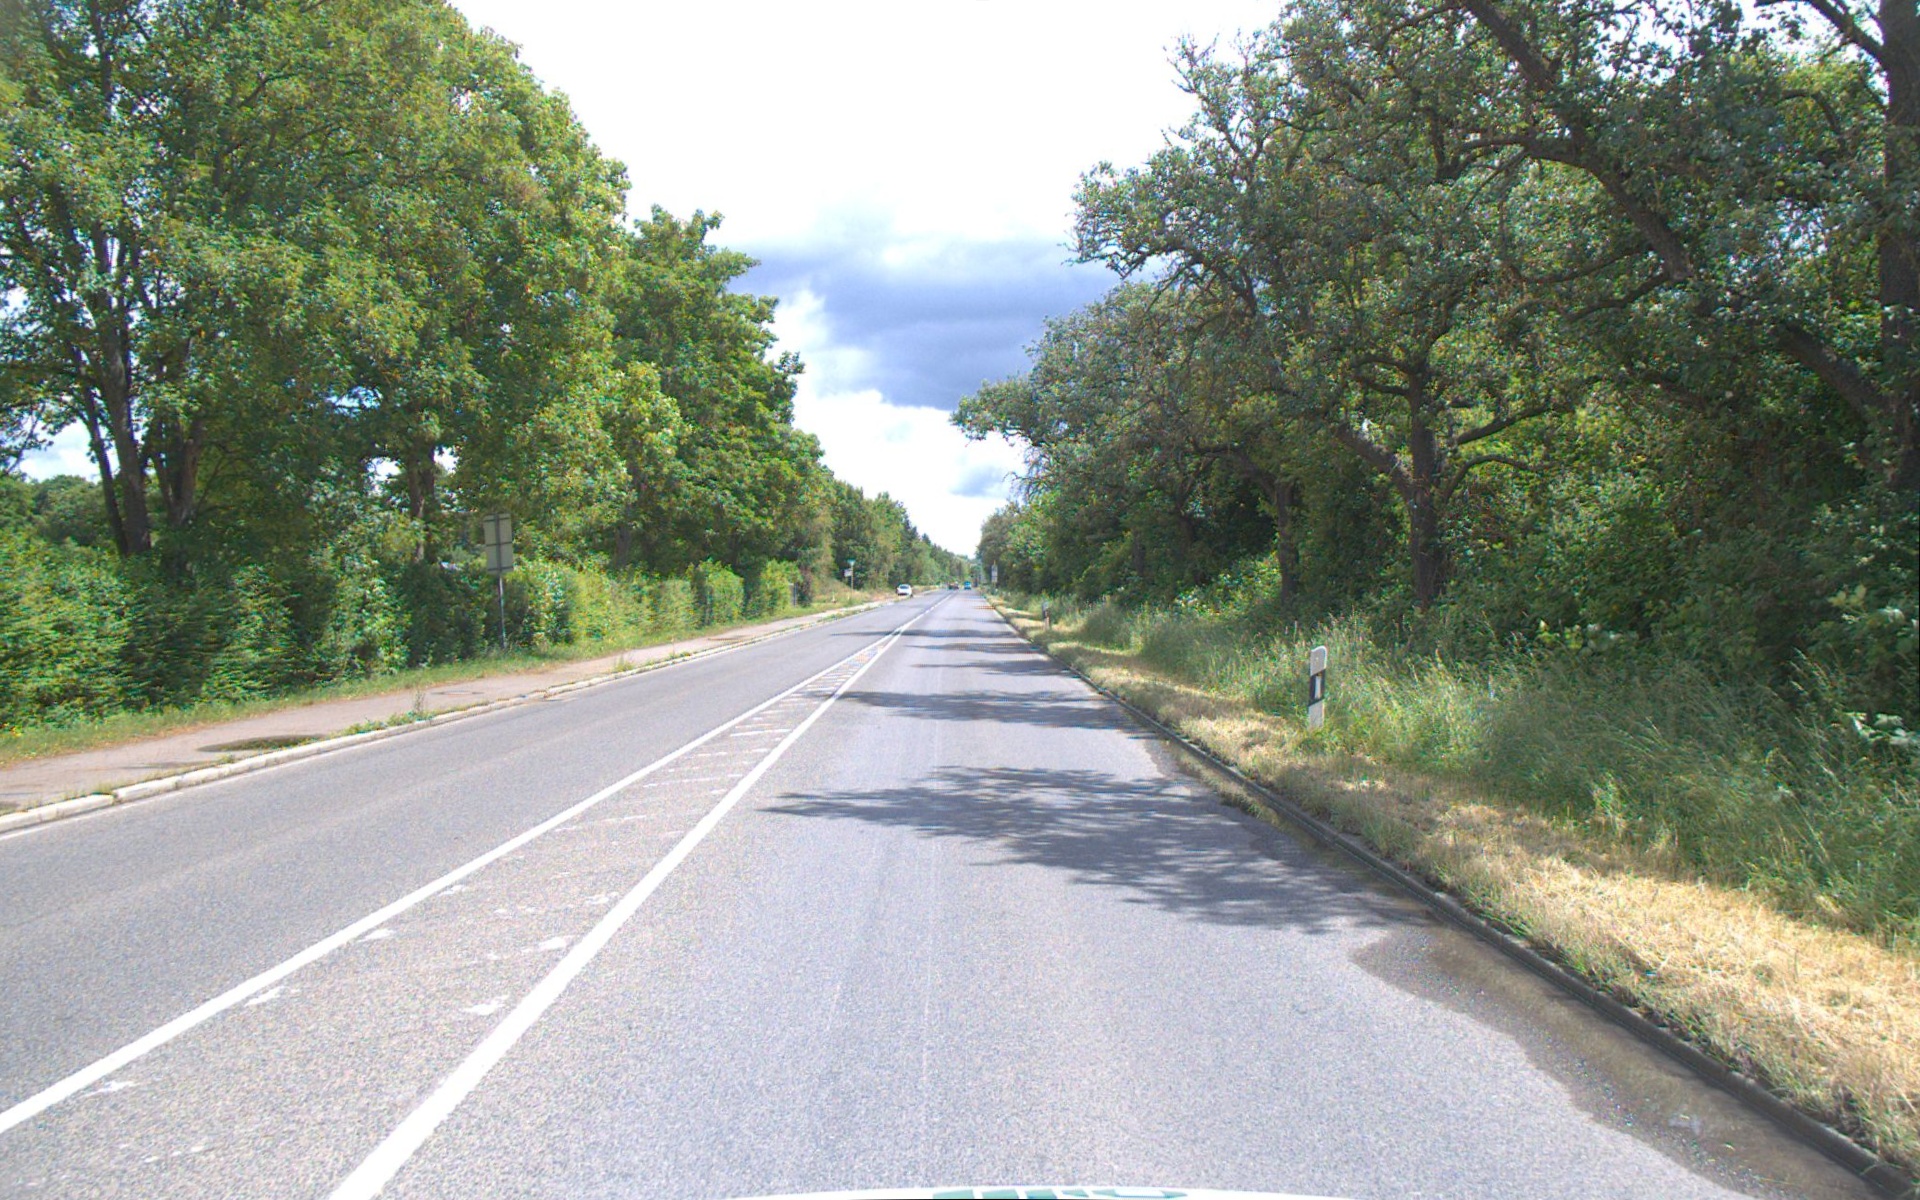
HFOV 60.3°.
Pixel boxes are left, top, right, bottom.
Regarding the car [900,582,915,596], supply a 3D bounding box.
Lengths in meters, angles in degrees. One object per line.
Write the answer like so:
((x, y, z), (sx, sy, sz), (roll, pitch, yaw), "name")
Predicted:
((-6.680, -1.370, 209.566), (1.761, 1.570, 3.954), (-1, -1, 0), "car")
